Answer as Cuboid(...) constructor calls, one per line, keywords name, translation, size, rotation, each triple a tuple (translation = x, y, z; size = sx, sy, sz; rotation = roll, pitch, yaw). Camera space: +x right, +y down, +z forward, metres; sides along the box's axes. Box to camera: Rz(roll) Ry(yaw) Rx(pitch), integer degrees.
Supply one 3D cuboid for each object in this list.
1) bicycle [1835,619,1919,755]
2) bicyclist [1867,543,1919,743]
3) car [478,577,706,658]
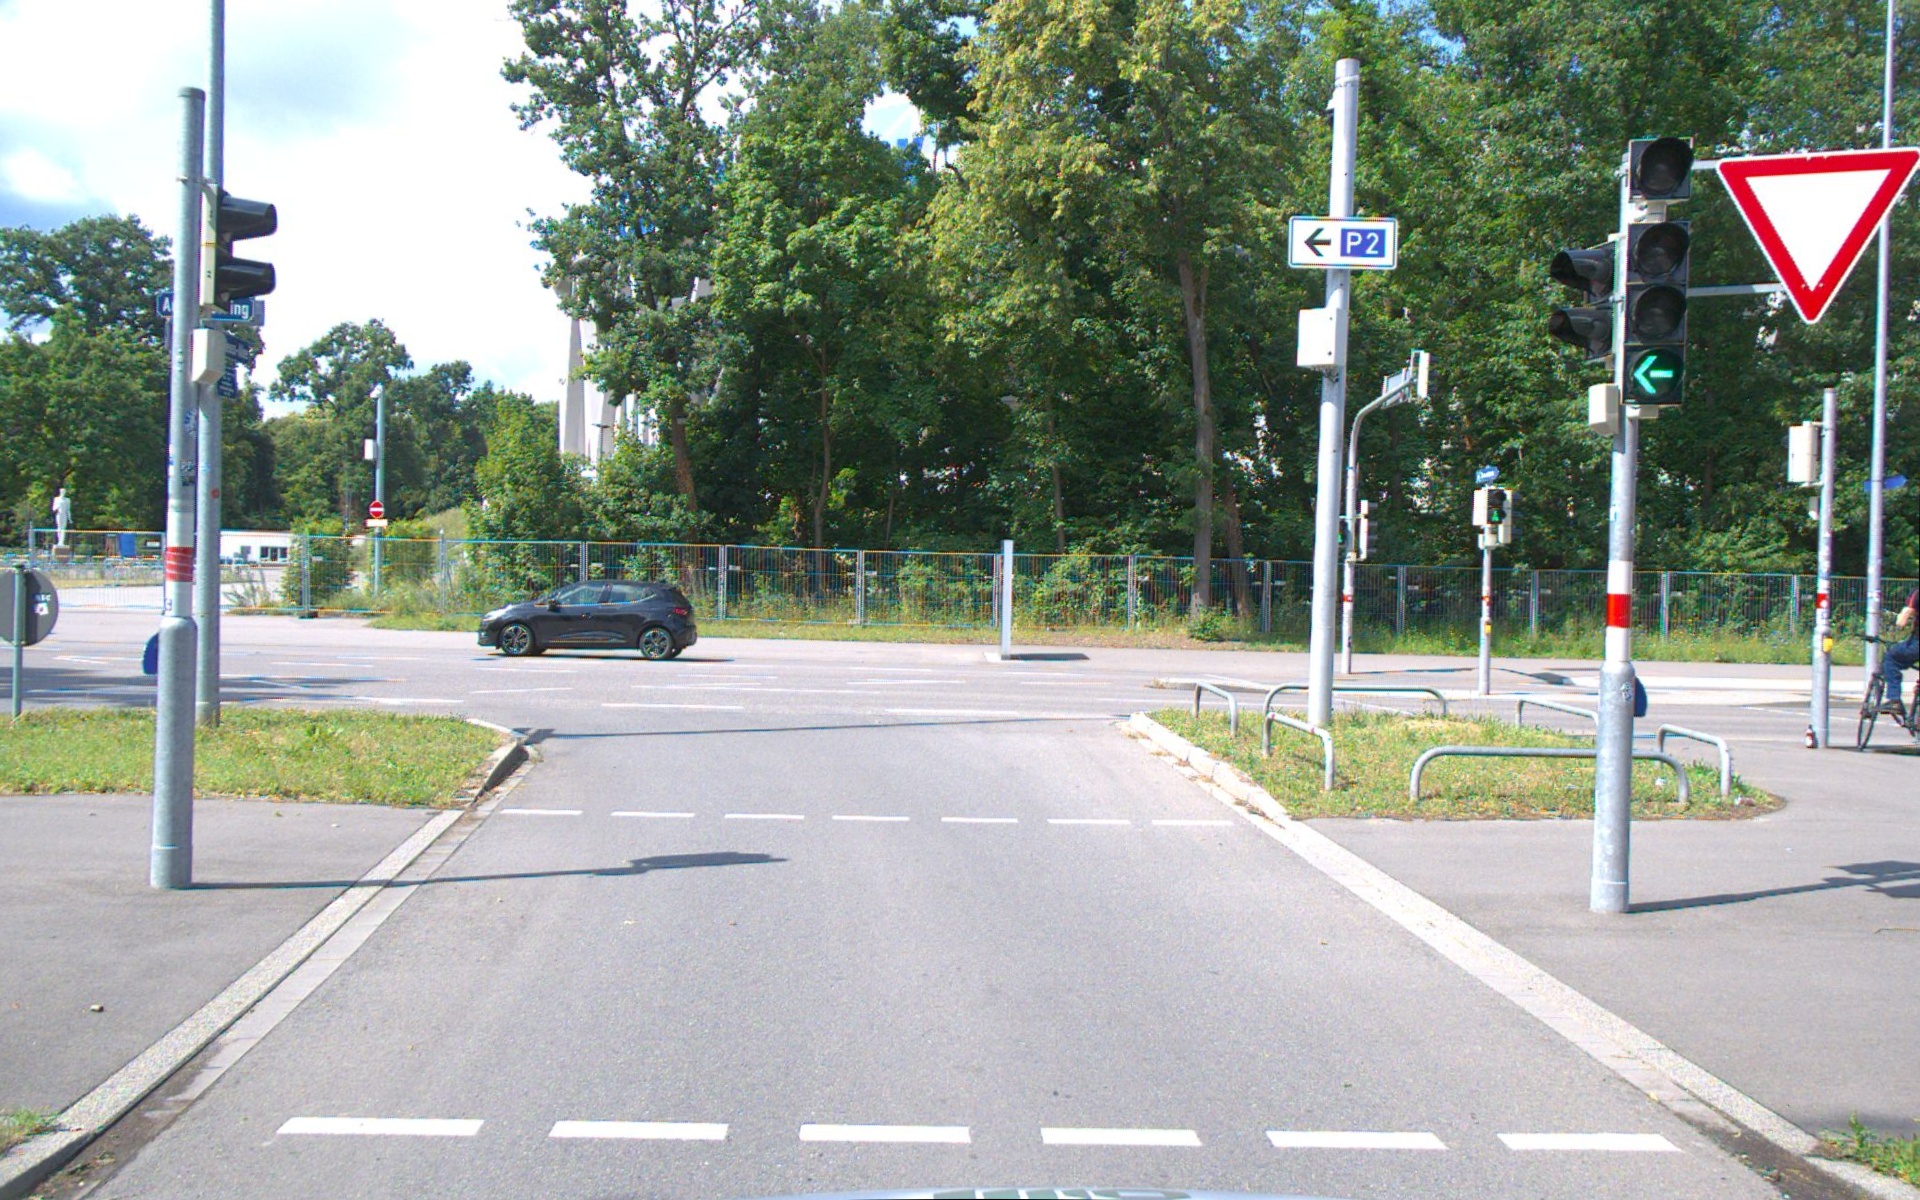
Cuboid(name="bicycle", translation=(9.236, 0.807, 15.900), size=(0.861, 1.227, 1.899), rotation=(1, 0, 8))
Cuboid(name="bicyclist", translation=(9.219, 0.405, 15.583), size=(0.866, 1.829, 0.979), rotation=(1, -1, 7))
Cuboid(name="car", translation=(-6.827, 0.326, 30.913), size=(3.882, 1.402, 1.602), rotation=(1, 0, -1))
